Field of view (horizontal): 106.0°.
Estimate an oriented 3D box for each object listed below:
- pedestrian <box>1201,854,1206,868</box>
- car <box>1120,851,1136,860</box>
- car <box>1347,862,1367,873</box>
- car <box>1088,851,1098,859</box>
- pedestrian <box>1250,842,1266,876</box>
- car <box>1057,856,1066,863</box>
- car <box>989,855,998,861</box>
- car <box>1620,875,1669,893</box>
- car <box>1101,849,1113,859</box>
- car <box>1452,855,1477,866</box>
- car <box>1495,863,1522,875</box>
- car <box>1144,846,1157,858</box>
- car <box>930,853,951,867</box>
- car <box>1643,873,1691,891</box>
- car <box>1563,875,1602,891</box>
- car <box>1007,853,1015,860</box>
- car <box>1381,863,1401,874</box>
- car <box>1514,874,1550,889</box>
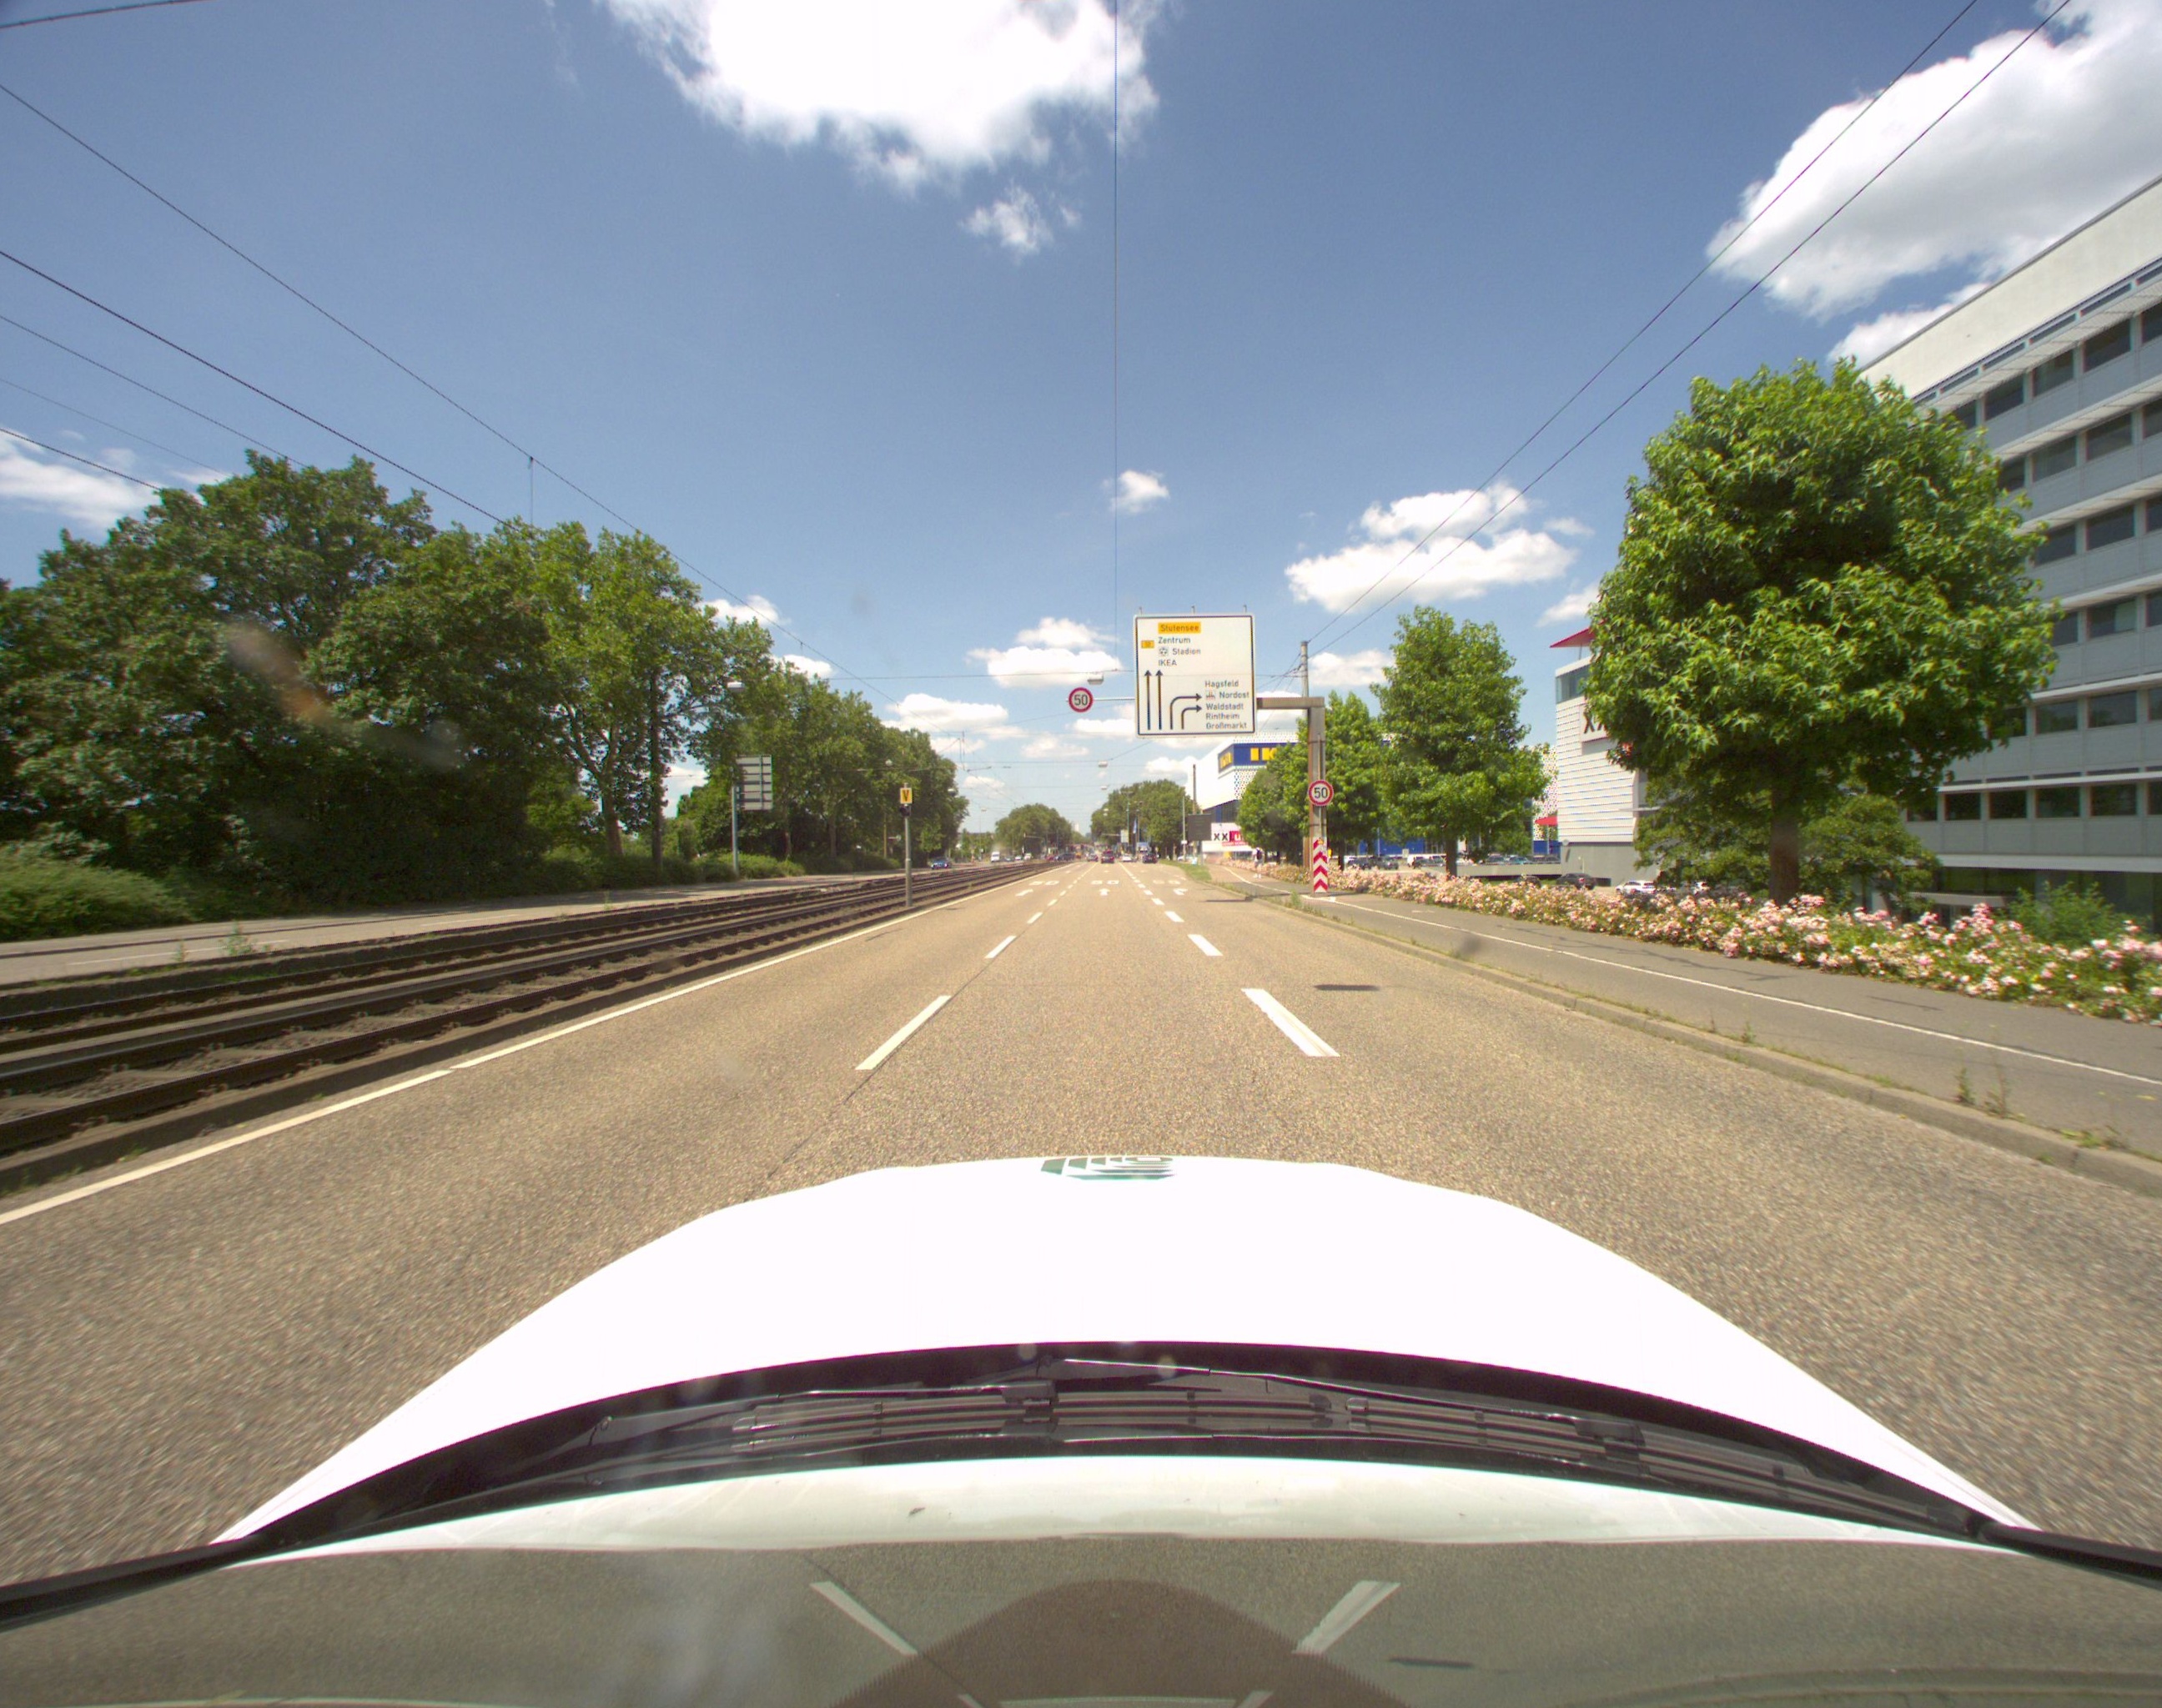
[{"bbox_3d":[16.032,0.875,106.349,0.578,1.792,0.590,0,0,-1],"label":"pedestrian"},{"bbox_3d":[8.800,0.269,152.317,1.670,1.549,4.006,1,0,24],"label":"car"},{"bbox_3d":[40.619,1.947,119.986,1.566,1.482,3.888,0,0,0],"label":"car"},{"bbox_3d":[2.308,0.203,154.449,1.836,1.549,3.777,1,0,0],"label":"car"},{"bbox_3d":[9.291,0.248,42.806,0.666,1.792,0.925,0,0,4],"label":"pedestrian"},{"bbox_3d":[-4.041,1.146,171.599,1.836,1.549,3.777,1,0,0],"label":"car"},{"bbox_3d":[-21.190,0.966,197.748,1.617,1.549,3.705,0,0,1],"label":"car"},{"bbox_3d":[51.761,2.753,74.921,1.734,1.482,4.242,0,0,2],"label":"car"},{"bbox_3d":[3.864,-0.032,121.264,1.869,1.539,3.778,0,0,1],"label":"car"},{"bbox_3d":[51.952,0.840,110.406,1.566,1.482,3.888,0,0,0],"label":"car"},{"bbox_3d":[57.069,1.966,108.668,1.566,1.482,3.888,0,0,0],"label":"car"},{"bbox_3d":[10.602,-0.297,124.575,1.892,1.805,3.979,0,0,2],"label":"car"},{"bbox_3d":[-16.199,0.633,94.081,1.639,1.550,4.216,0,0,0],"label":"car"},{"bbox_3d":[54.464,2.614,75.752,1.734,1.482,3.966,0,0,2],"label":"car"},{"bbox_3d":[52.546,3.009,85.433,1.734,1.482,3.966,0,0,2],"label":"car"},{"bbox_3d":[-17.074,0.587,199.445,1.617,1.549,3.705,0,0,1],"label":"car"},{"bbox_3d":[45.165,2.047,118.704,1.566,1.482,3.888,0,0,0],"label":"car"},{"bbox_3d":[48.045,2.932,86.770,1.734,1.482,3.966,0,0,2],"label":"car"}]
